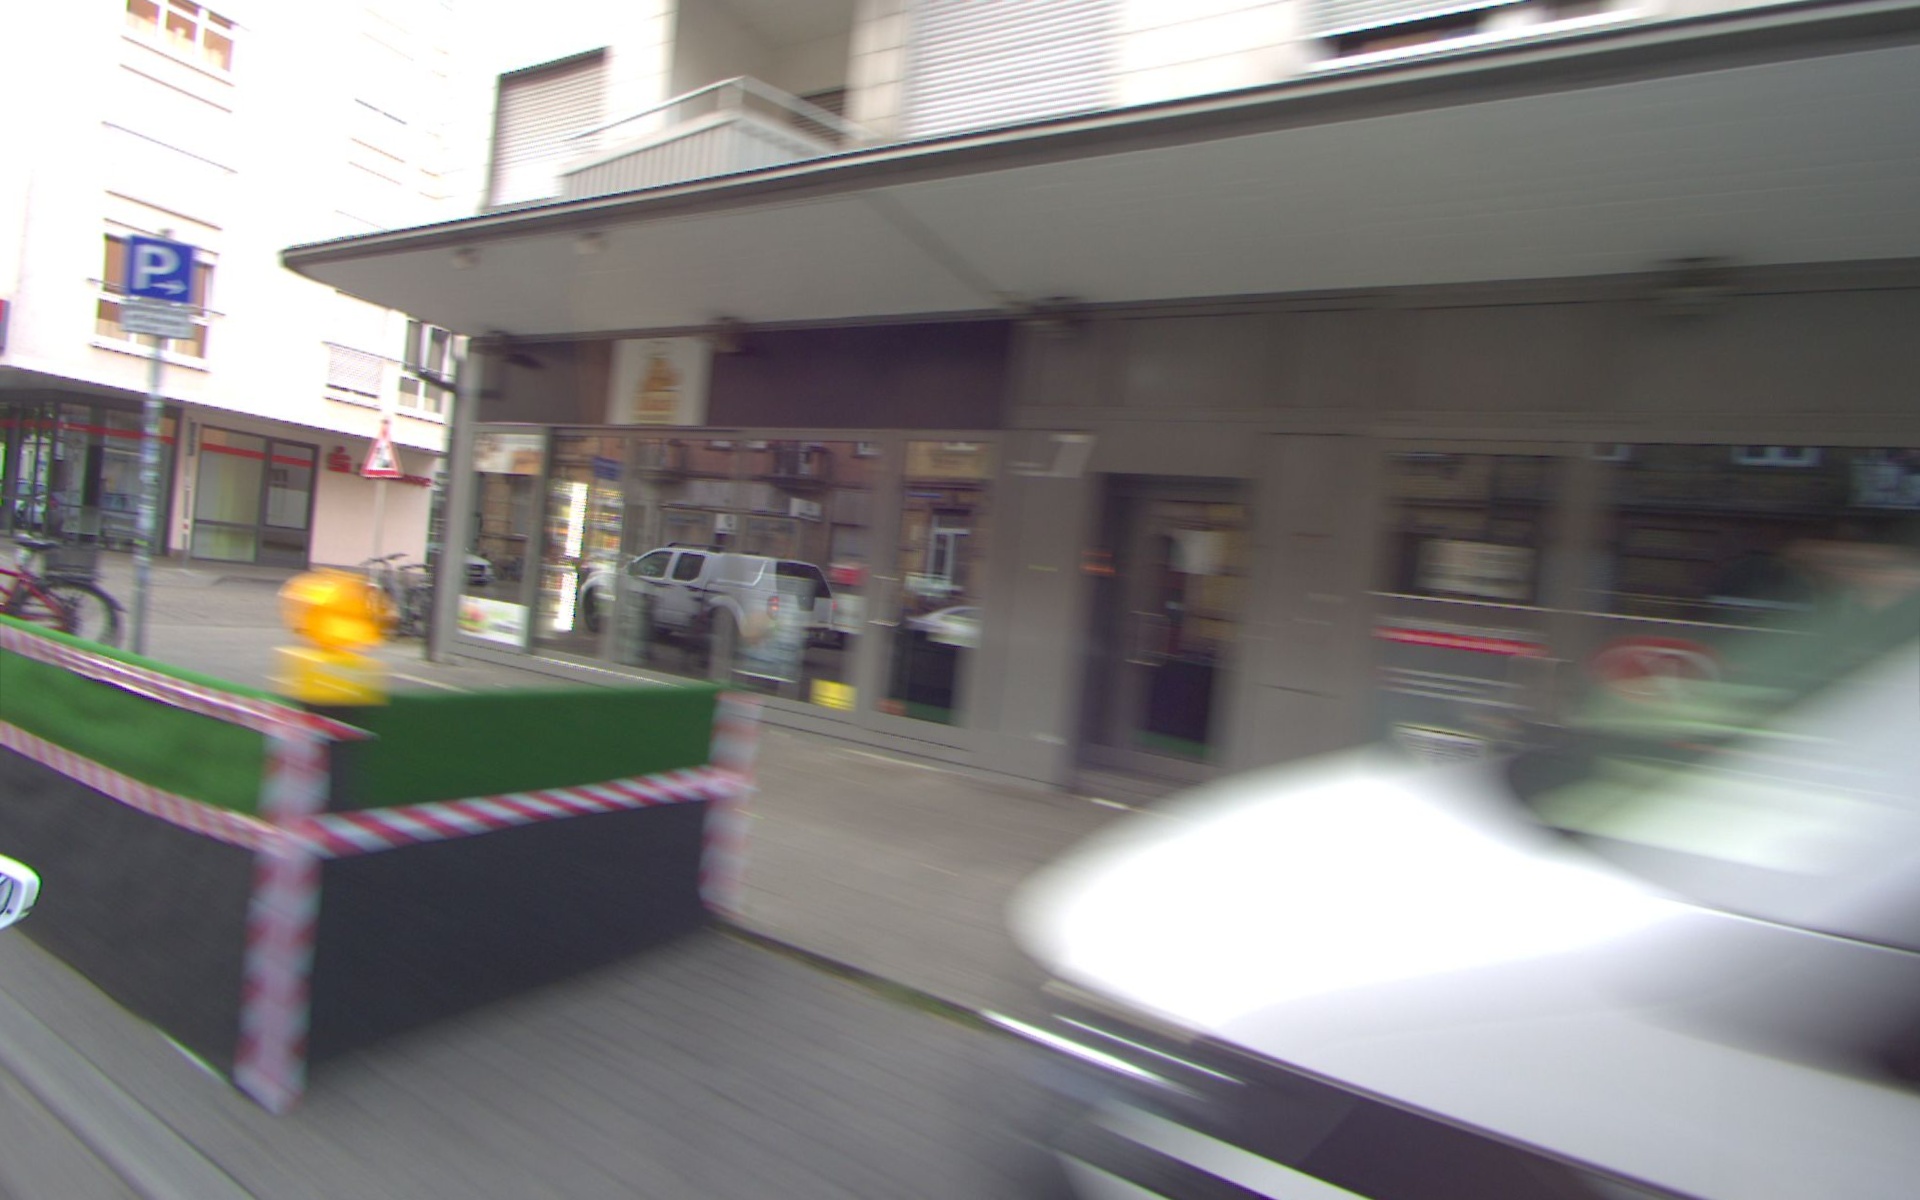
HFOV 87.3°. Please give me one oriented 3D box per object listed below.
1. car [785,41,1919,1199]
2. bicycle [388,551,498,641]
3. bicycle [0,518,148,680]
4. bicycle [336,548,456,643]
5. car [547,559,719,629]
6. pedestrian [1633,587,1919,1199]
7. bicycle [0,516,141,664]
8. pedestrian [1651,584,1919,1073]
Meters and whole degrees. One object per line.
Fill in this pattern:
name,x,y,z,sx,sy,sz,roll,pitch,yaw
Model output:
car,2.377,0.727,0.957,4.919,2.000,1.959,7,3,31
bicycle,-7.065,-0.070,13.711,1.730,1.081,0.562,5,1,36
bicycle,-7.459,-0.048,7.599,1.917,1.150,0.653,4,3,-22
bicycle,-7.379,-0.071,13.125,1.933,1.081,0.562,5,1,36
car,-9.057,-0.132,28.184,1.764,1.452,4.232,10,3,36
pedestrian,2.913,0.924,3.412,0.846,1.852,0.709,6,2,30
bicycle,-8.106,-0.127,8.315,1.917,1.150,0.653,4,3,-22
pedestrian,3.332,0.818,4.027,0.732,1.687,0.709,6,2,30
